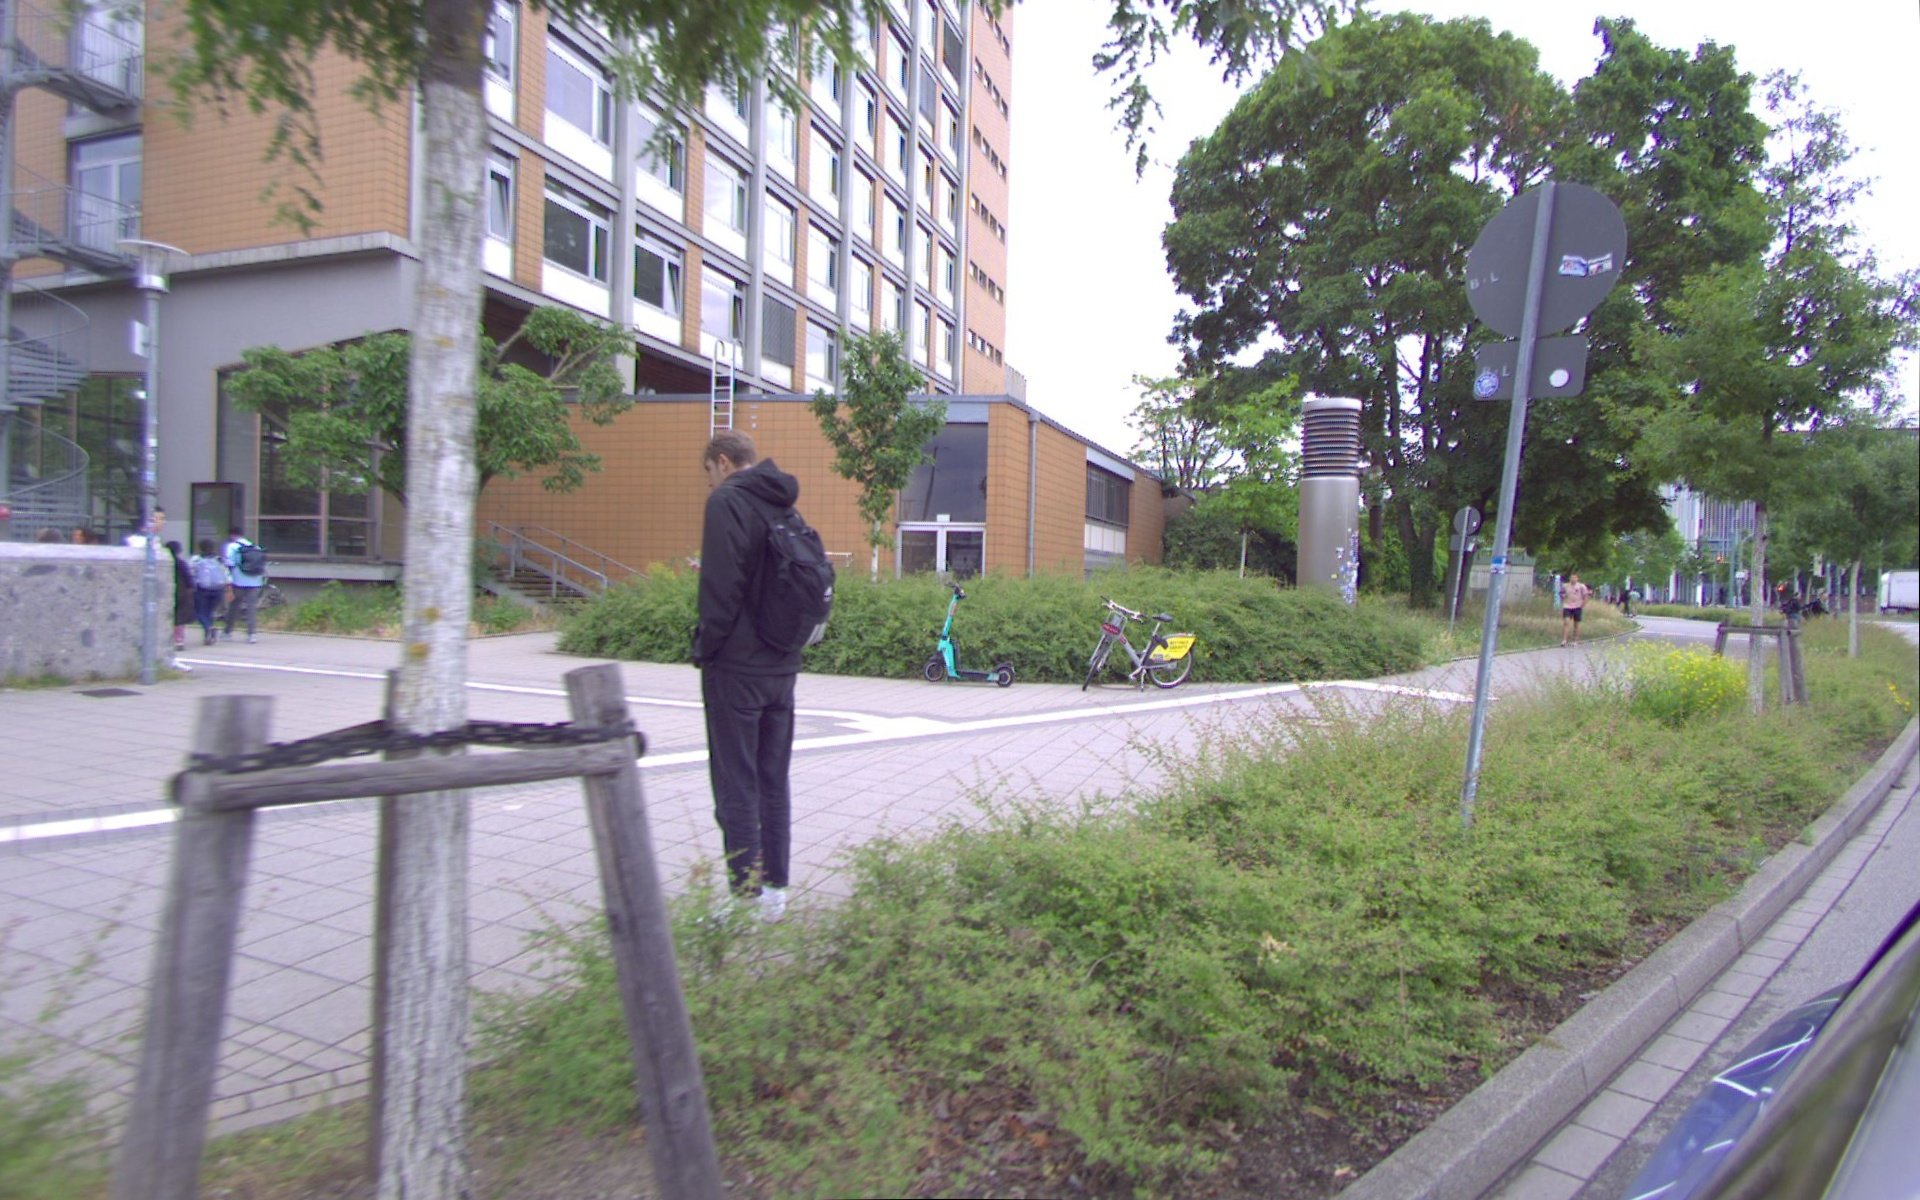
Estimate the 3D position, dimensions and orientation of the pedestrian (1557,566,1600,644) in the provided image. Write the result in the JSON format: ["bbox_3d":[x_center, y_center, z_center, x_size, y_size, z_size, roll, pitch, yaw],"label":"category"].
[{"bbox_3d":[14.811,0.111,24.241,0.588,1.822,0.630,1,4,-44],"label":"pedestrian"}]

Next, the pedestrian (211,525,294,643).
[{"bbox_3d":[-10.911,-0.260,15.604,0.865,1.758,0.718,1,1,27],"label":"pedestrian"}]

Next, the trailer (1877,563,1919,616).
[{"bbox_3d":[75.387,-0.820,77.732,2.915,4.064,13.701,0,0,23],"label":"trailer"}]

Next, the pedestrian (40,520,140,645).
[{"bbox_3d":[-12.611,-0.259,14.691,0.860,1.764,0.722,1,1,12],"label":"pedestrian"}]

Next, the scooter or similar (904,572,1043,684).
[{"bbox_3d":[0.171,0.321,12.424,1.584,1.306,0.691,0,0,19],"label":"scooter or similar"}]

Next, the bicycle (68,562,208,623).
[{"bbox_3d":[-16.344,-0.147,20.225,0.818,1.137,2.377,0,0,2],"label":"bicycle"}]

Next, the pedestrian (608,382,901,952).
[{"bbox_3d":[-0.769,0.217,3.937,0.862,1.952,0.721,1,1,17],"label":"pedestrian"}]

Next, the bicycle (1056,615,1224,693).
[{"bbox_3d":[2.191,0.628,12.210,2.030,0.859,0.559,1,1,-25],"label":"bicycle"}]

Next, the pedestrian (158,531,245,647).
[{"bbox_3d":[-11.182,-0.173,14.926,0.865,1.651,0.718,1,1,27],"label":"pedestrian"}]

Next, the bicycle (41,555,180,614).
[{"bbox_3d":[-17.490,-0.308,20.933,0.818,1.137,2.377,0,0,2],"label":"bicycle"}]

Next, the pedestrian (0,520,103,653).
[{"bbox_3d":[-12.450,-0.195,13.843,0.860,1.752,0.722,1,1,12],"label":"pedestrian"}]

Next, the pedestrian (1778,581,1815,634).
[{"bbox_3d":[30.298,0.270,36.662,0.708,1.822,0.597,3,3,3],"label":"pedestrian"}]

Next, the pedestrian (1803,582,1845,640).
[{"bbox_3d":[28.409,0.355,33.287,0.708,1.822,0.597,3,3,3],"label":"pedestrian"}]

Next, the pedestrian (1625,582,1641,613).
[{"bbox_3d":[40.238,-0.139,60.509,0.592,1.822,0.515,4,3,27],"label":"pedestrian"}]

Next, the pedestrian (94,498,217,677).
[{"bbox_3d":[-8.609,-0.141,10.847,0.698,1.828,0.830,1,1,30],"label":"pedestrian"}]

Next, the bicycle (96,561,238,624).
[{"bbox_3d":[-15.298,-0.140,19.624,0.818,1.137,2.377,0,0,2],"label":"bicycle"}]

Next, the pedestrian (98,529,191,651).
[{"bbox_3d":[-11.492,-0.147,14.268,0.865,1.651,0.718,1,1,27],"label":"pedestrian"}]
